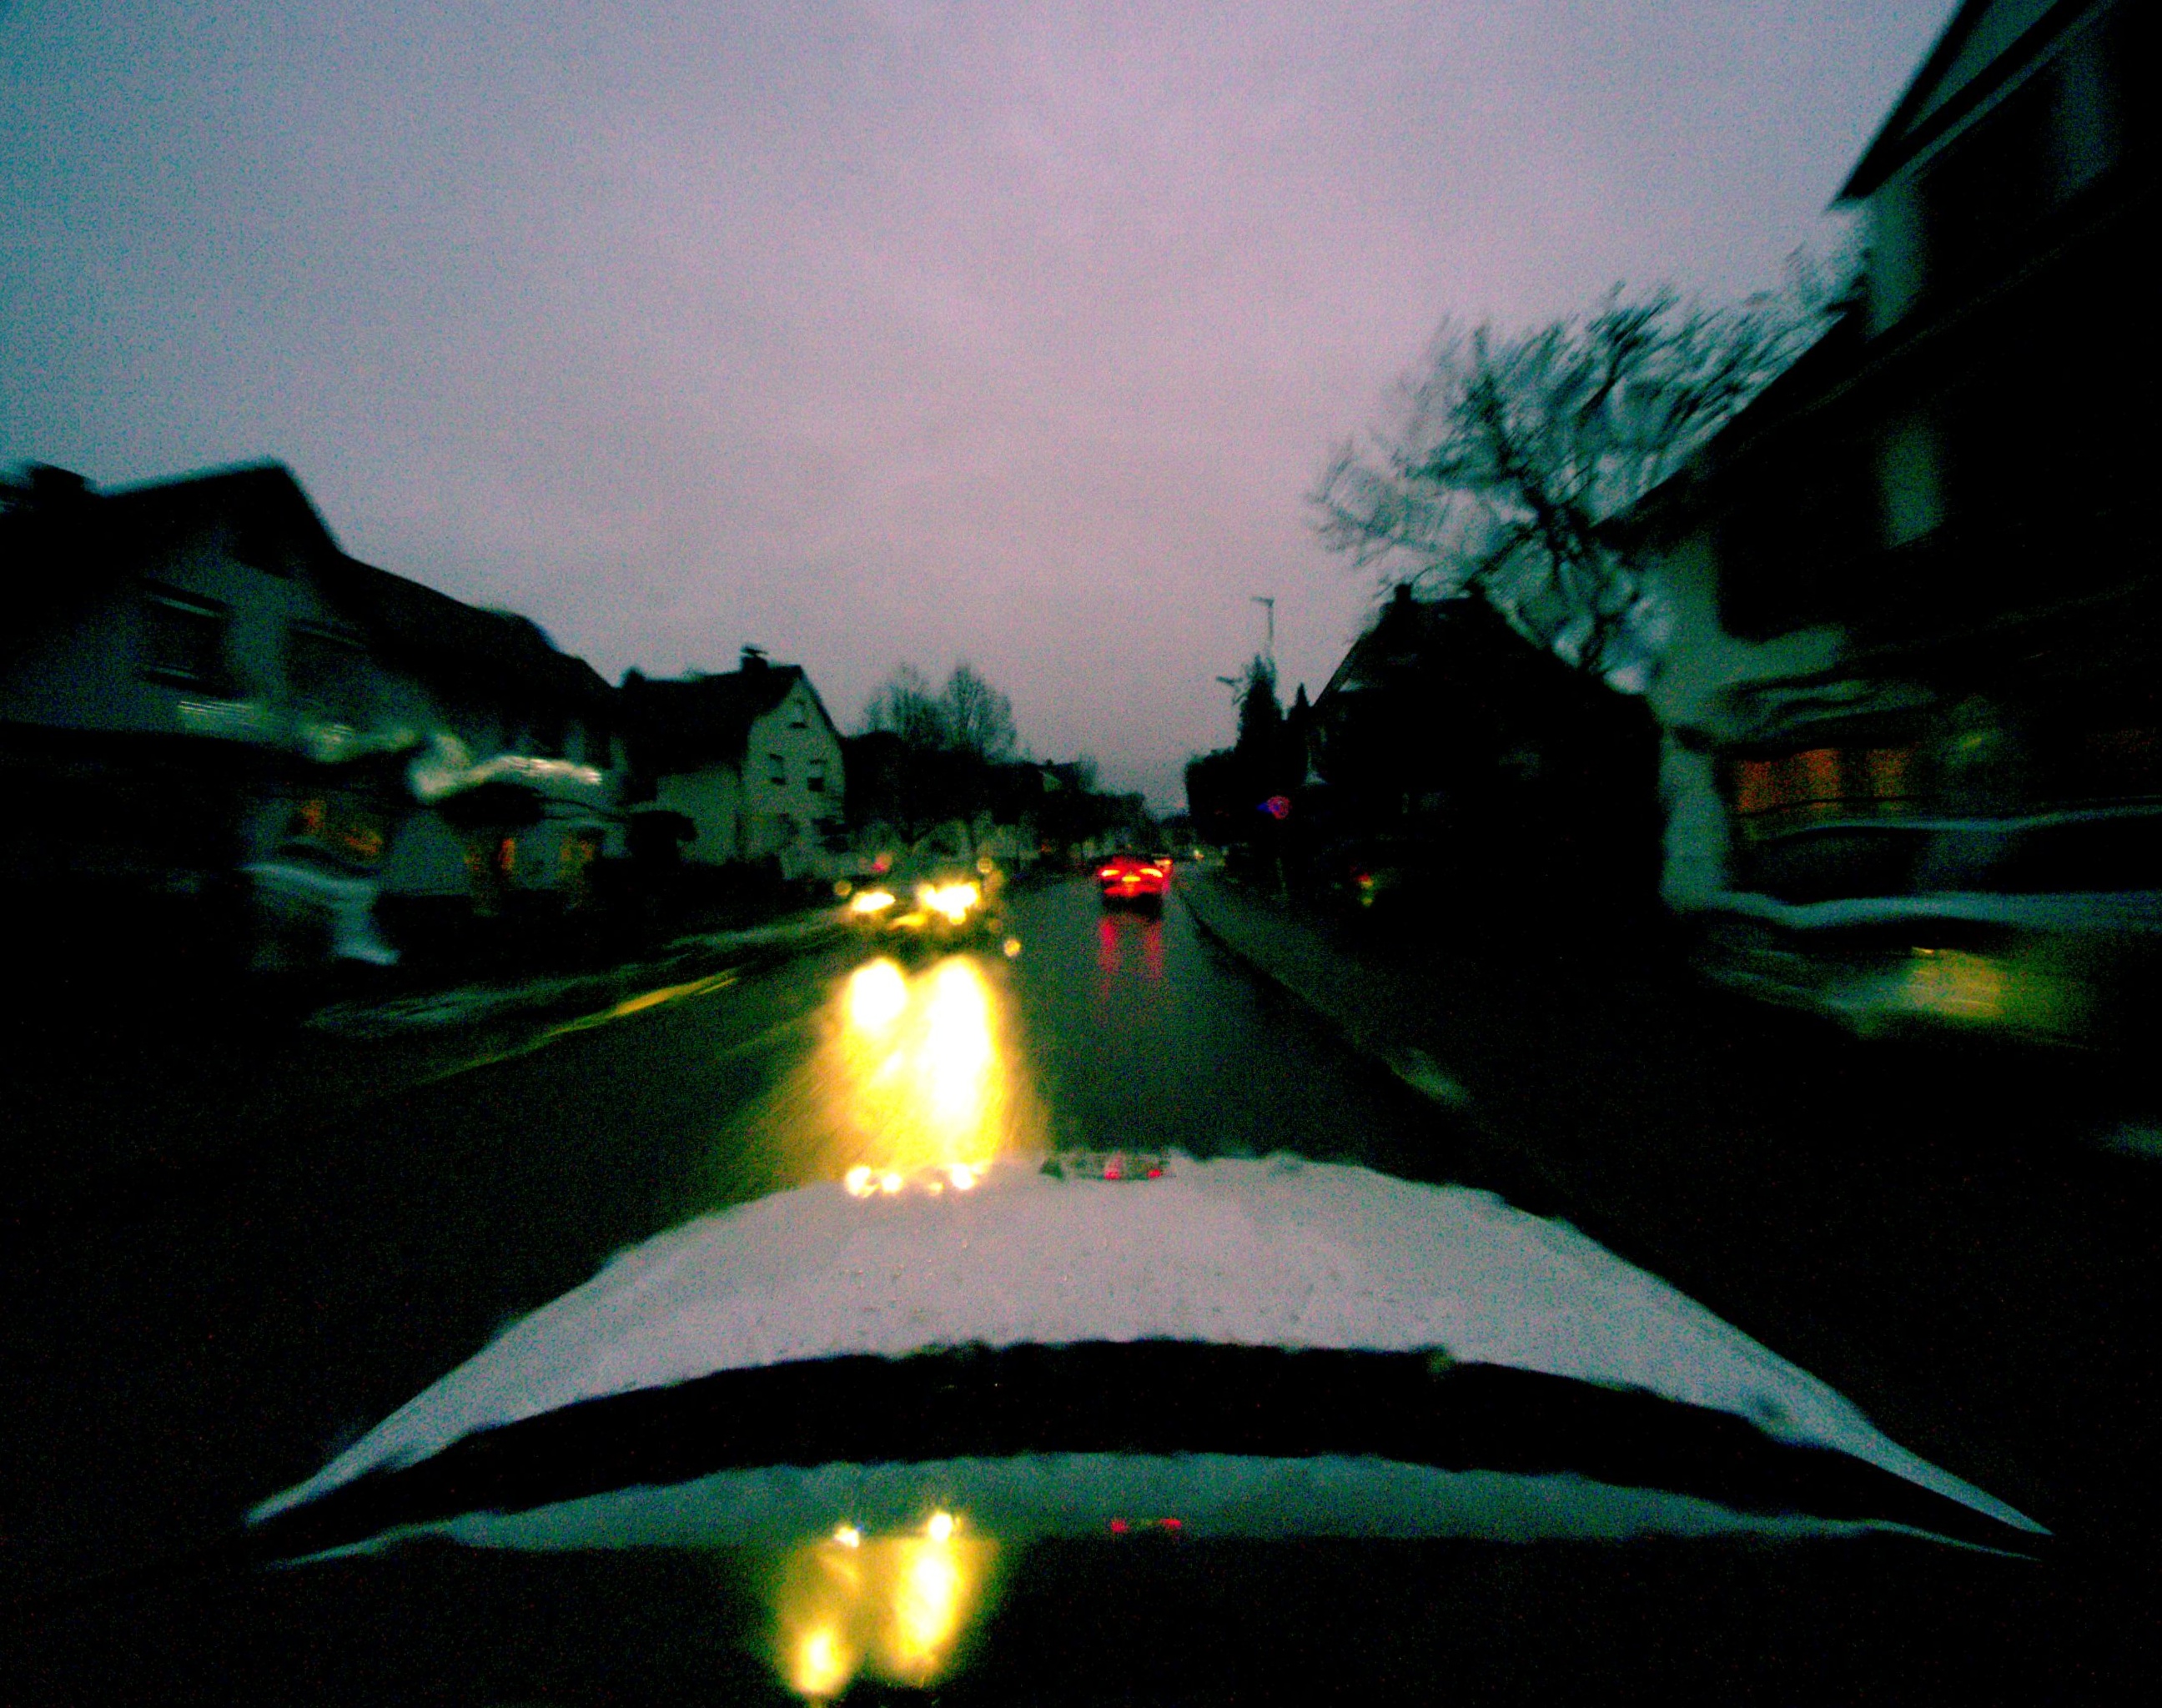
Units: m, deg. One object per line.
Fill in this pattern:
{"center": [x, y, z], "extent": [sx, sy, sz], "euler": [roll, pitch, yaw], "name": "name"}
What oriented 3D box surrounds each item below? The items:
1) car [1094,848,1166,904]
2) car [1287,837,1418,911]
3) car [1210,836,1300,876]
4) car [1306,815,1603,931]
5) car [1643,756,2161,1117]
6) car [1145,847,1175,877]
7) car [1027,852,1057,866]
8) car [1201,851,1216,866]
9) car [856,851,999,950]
{"center": [1.411, 0.620, 24.901], "extent": [1.986, 1.525, 4.001], "euler": [-1, 0, 1], "name": "car"}
{"center": [6.539, 0.436, 20.222], "extent": [1.885, 1.554, 4.760], "euler": [-2, 0, 3], "name": "car"}
{"center": [9.218, 0.108, 43.428], "extent": [4.304, 1.732, 2.002], "euler": [-4, 0, 3], "name": "car"}
{"center": [6.119, 0.308, 13.761], "extent": [4.086, 1.706, 2.001], "euler": [-2, -1, 2], "name": "car"}
{"center": [6.251, 0.280, 4.550], "extent": [4.707, 1.629, 1.911], "euler": [-4, 0, 7], "name": "car"}
{"center": [5.639, 0.579, 57.815], "extent": [1.983, 2.014, 4.008], "euler": [-1, 0, 7], "name": "car"}
{"center": [-3.760, 0.489, 79.249], "extent": [1.768, 1.366, 4.017], "euler": [-1, 0, 16], "name": "car"}
{"center": [19.062, 0.684, 121.725], "extent": [1.983, 2.013, 4.008], "euler": [-3, 0, 7], "name": "car"}
{"center": [-2.880, 0.808, 16.296], "extent": [1.807, 1.633, 4.227], "euler": [-3, 0, 2], "name": "car"}
